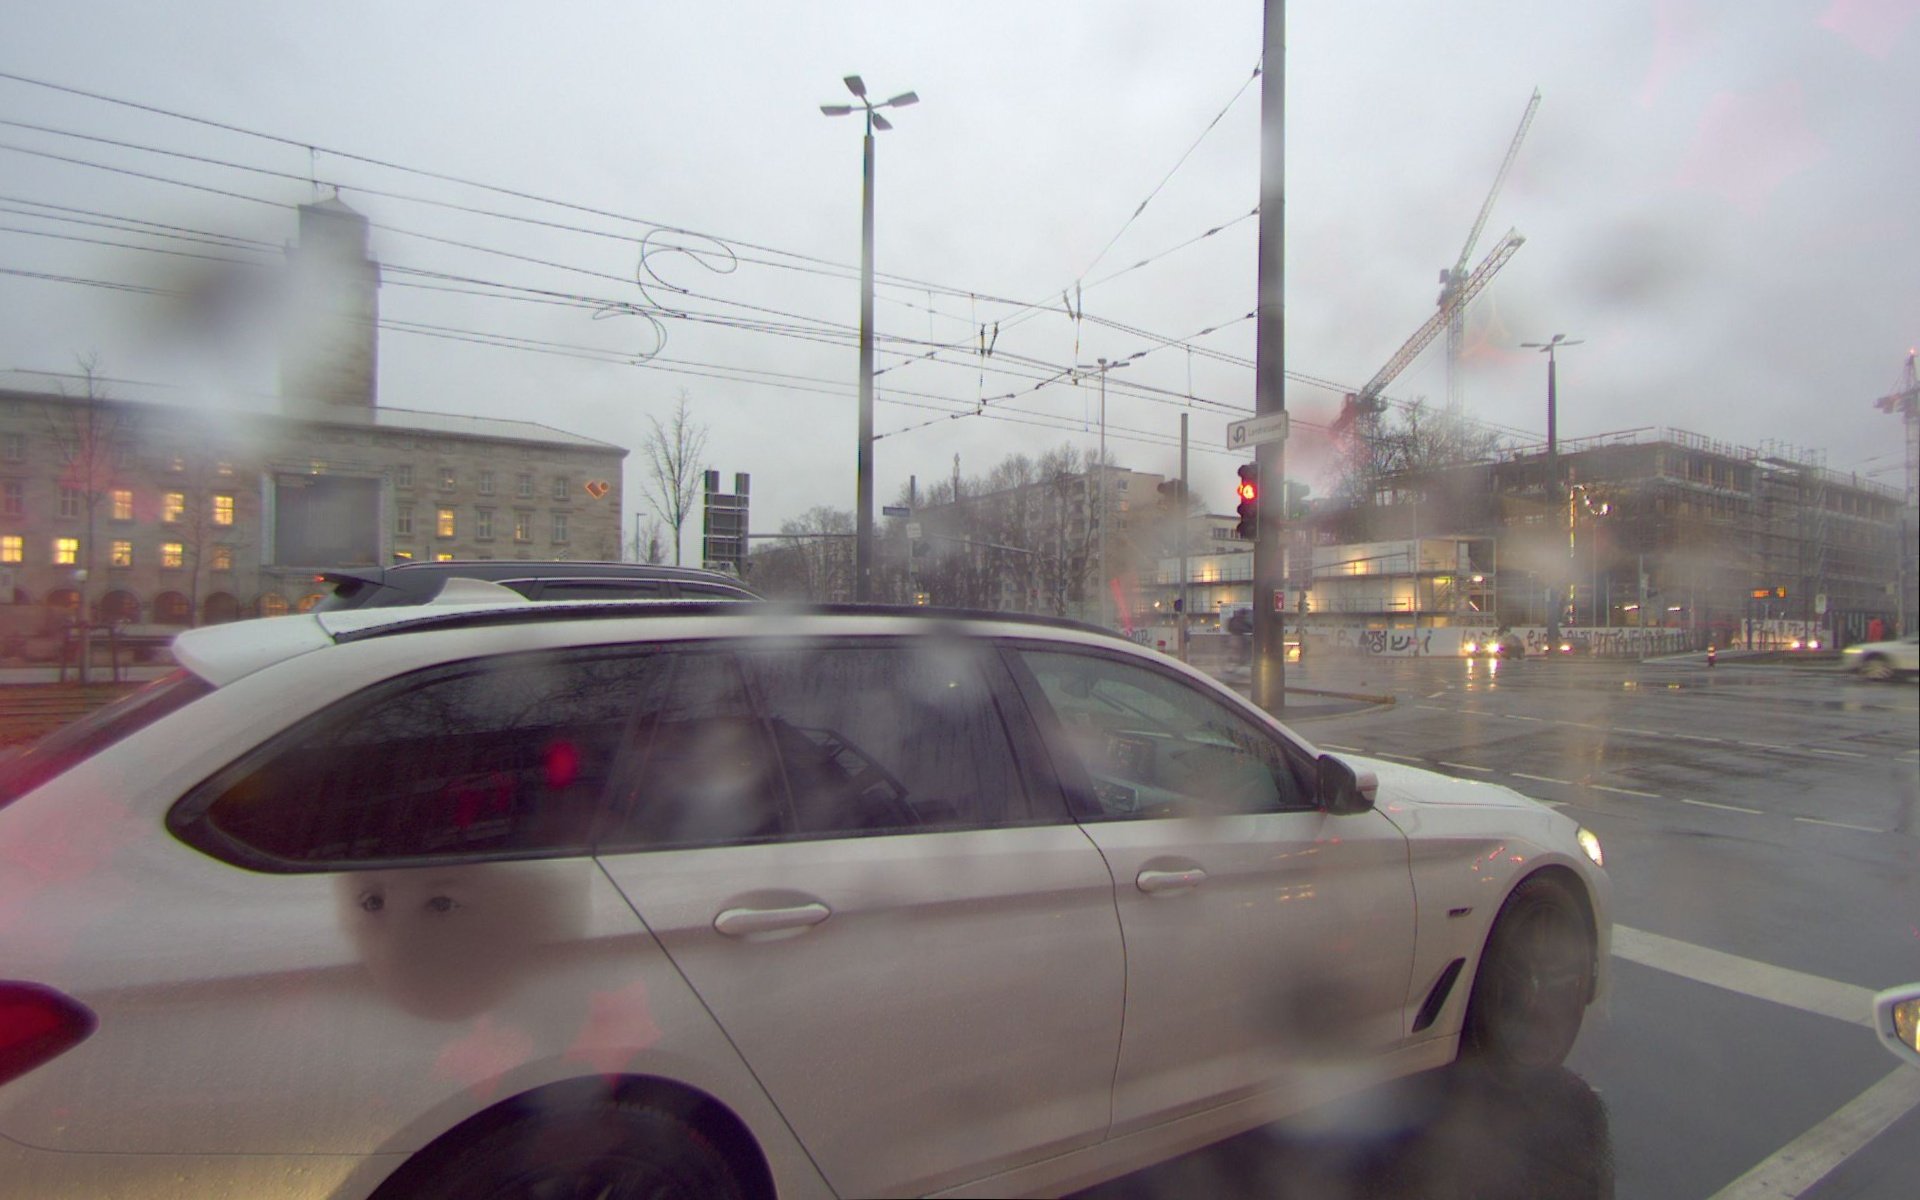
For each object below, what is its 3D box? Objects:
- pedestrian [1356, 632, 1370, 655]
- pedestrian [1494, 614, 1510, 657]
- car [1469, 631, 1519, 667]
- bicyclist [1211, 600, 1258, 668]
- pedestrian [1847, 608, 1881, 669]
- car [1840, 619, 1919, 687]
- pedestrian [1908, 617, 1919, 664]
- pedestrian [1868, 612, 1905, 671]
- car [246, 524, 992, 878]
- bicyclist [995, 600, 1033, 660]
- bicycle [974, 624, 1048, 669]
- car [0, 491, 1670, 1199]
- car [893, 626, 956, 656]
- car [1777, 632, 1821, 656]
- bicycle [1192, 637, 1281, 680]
[{"bbox_3d":[27.187,2.932,67.749,0.780,1.549,0.647,0,-2,10],"label":"pedestrian"},{"bbox_3d":[26.332,1.726,48.807,0.635,2.040,0.503,3,-3,-40],"label":"pedestrian"},{"bbox_3d":[31.224,2.844,58.718,1.736,2.040,3.980,-1,-2,41],"label":"car"},{"bbox_3d":[7.109,0.873,26.031,0.612,1.719,1.026,2,-2,-36],"label":"bicyclist"},{"bbox_3d":[31.559,1.339,35.065,0.674,2.115,0.613,0,-1,20],"label":"pedestrian"},{"bbox_3d":[26.122,1.400,26.336,1.687,1.785,4.282,1,-2,-30],"label":"car"},{"bbox_3d":[34.073,1.425,35.445,0.672,1.640,0.704,1,-1,-29],"label":"pedestrian"},{"bbox_3d":[32.499,1.459,35.251,0.762,2.040,0.613,0,-1,22],"label":"pedestrian"},{"bbox_3d":[-2.118,0.576,7.012,4.564,1.766,1.692,2,-2,-34],"label":"car"},{"bbox_3d":[1.721,0.957,32.058,0.715,1.863,0.986,2,-2,-39],"label":"bicyclist"},{"bbox_3d":[1.603,1.483,32.183,0.714,1.380,2.809,2,-3,-38],"label":"bicycle"},{"bbox_3d":[-0.102,0.699,3.001,4.868,1.540,1.900,2,-2,-32],"label":"car"},{"bbox_3d":[-2.116,2.409,59.332,1.978,1.706,3.965,1,-2,-33],"label":"car"},{"bbox_3d":[74.641,3.894,89.384,3.958,2.040,1.981,2,-2,-34],"label":"car"},{"bbox_3d":[7.117,1.493,25.976,0.612,1.046,2.356,2,-2,-36],"label":"bicycle"}]
